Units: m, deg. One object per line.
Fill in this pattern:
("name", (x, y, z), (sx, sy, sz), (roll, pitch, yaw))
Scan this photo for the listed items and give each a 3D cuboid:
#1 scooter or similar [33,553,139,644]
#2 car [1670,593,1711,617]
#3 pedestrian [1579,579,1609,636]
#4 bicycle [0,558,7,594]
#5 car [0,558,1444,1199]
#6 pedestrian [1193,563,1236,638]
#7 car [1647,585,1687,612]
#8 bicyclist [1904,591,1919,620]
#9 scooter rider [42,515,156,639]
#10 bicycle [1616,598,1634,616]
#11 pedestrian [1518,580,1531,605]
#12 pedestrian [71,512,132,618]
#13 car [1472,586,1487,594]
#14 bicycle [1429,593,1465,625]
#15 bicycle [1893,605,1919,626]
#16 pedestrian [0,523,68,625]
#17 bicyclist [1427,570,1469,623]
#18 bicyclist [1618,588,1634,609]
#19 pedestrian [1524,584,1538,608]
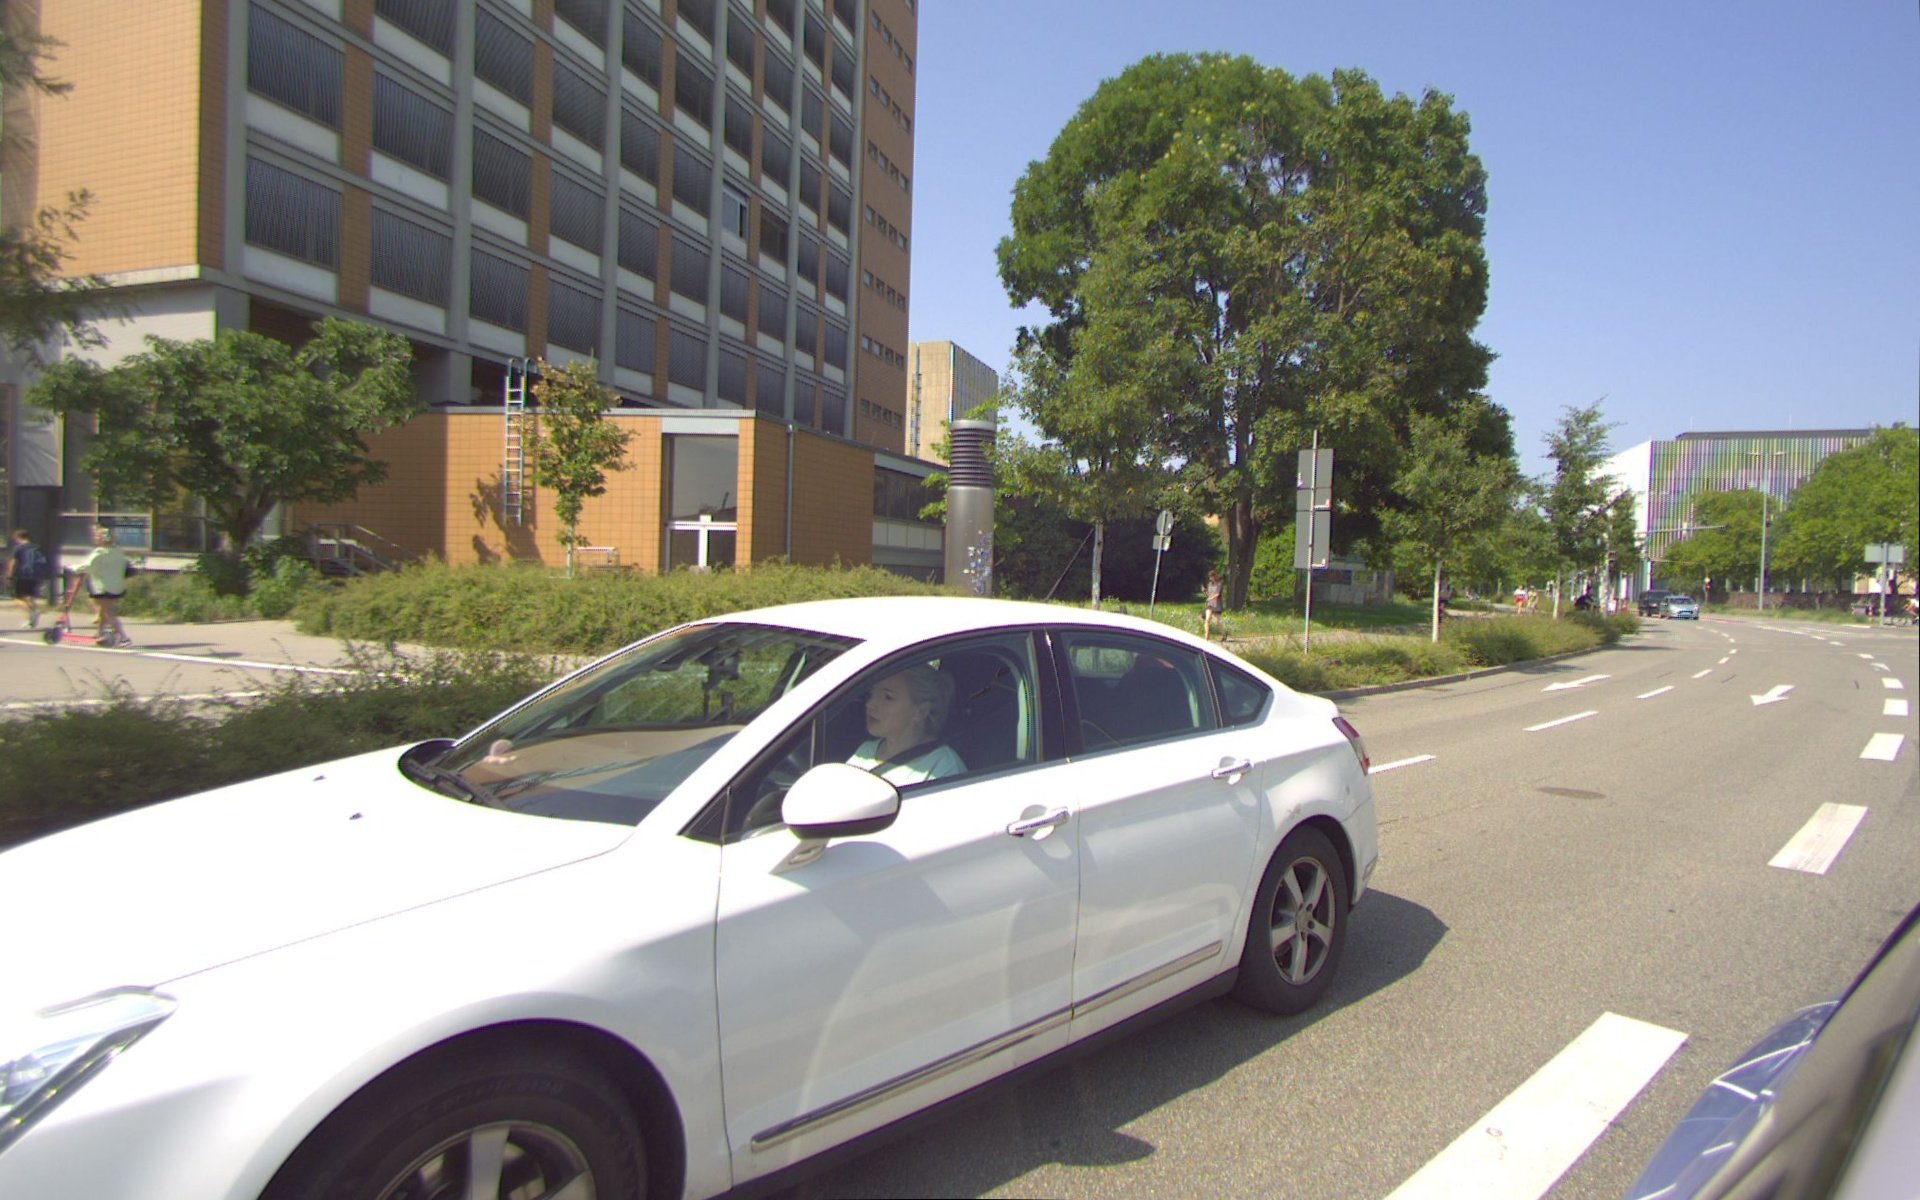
("scooter or similar", (-12.882, -0.029, 14.926), (1.160, 1.295, 0.649), (0, 0, 14))
("car", (49.294, 0.316, 68.379), (1.644, 1.550, 4.489), (0, 0, 28))
("pedestrian", (22.214, 0.248, 35.472), (0.818, 1.926, 0.622), (2, 1, 36))
("bicycle", (-23.466, -0.557, 23.499), (0.543, 0.849, 1.888), (2, 2, 23))
("car", (-0.408, 0.648, 3.229), (4.527, 1.446, 1.773), (0, 2, -40))
("pedestrian", (5.991, 0.010, 23.826), (0.669, 1.720, 0.794), (2, 1, 39))
("car", (52.341, -0.121, 74.983), (1.874, 1.943, 4.490), (1, 1, 27))
("bicyclist", (52.239, 0.312, 55.188), (1.013, 1.570, 0.708), (2, 1, 42))
("scooter rider", (-12.796, -0.331, 15.065), (1.024, 1.780, 0.857), (0, 0, 13))
("bicycle", (44.635, 0.476, 67.930), (0.593, 1.183, 2.199), (2, 2, 45))
("pedestrian", (30.736, -0.413, 55.117), (0.629, 1.315, 0.482), (0, 0, 31))
("pedestrian", (-15.681, -0.644, 18.492), (0.830, 1.894, 0.622), (2, 2, 31))
("car", (103.903, -2.056, 202.510), (1.848, 1.549, 4.510), (2, 2, 16))
("bicycle", (15.458, 0.271, 32.107), (1.751, 0.992, 0.357), (0, 1, -41))
("bicycle", (52.343, 0.892, 55.084), (2.260, 1.090, 0.650), (3, 2, 42))
("pedestrian", (-15.960, -0.459, 17.398), (0.828, 1.695, 0.672), (2, 2, 24))
("bicyclist", (15.539, -0.113, 32.251), (0.909, 1.625, 0.903), (0, 1, -43))
("bicyclist", (44.747, -0.099, 68.018), (0.678, 1.417, 1.032), (2, 1, 45))
("pedestrian", (31.118, -0.222, 55.154), (0.612, 1.315, 0.433), (0, 0, 29))
